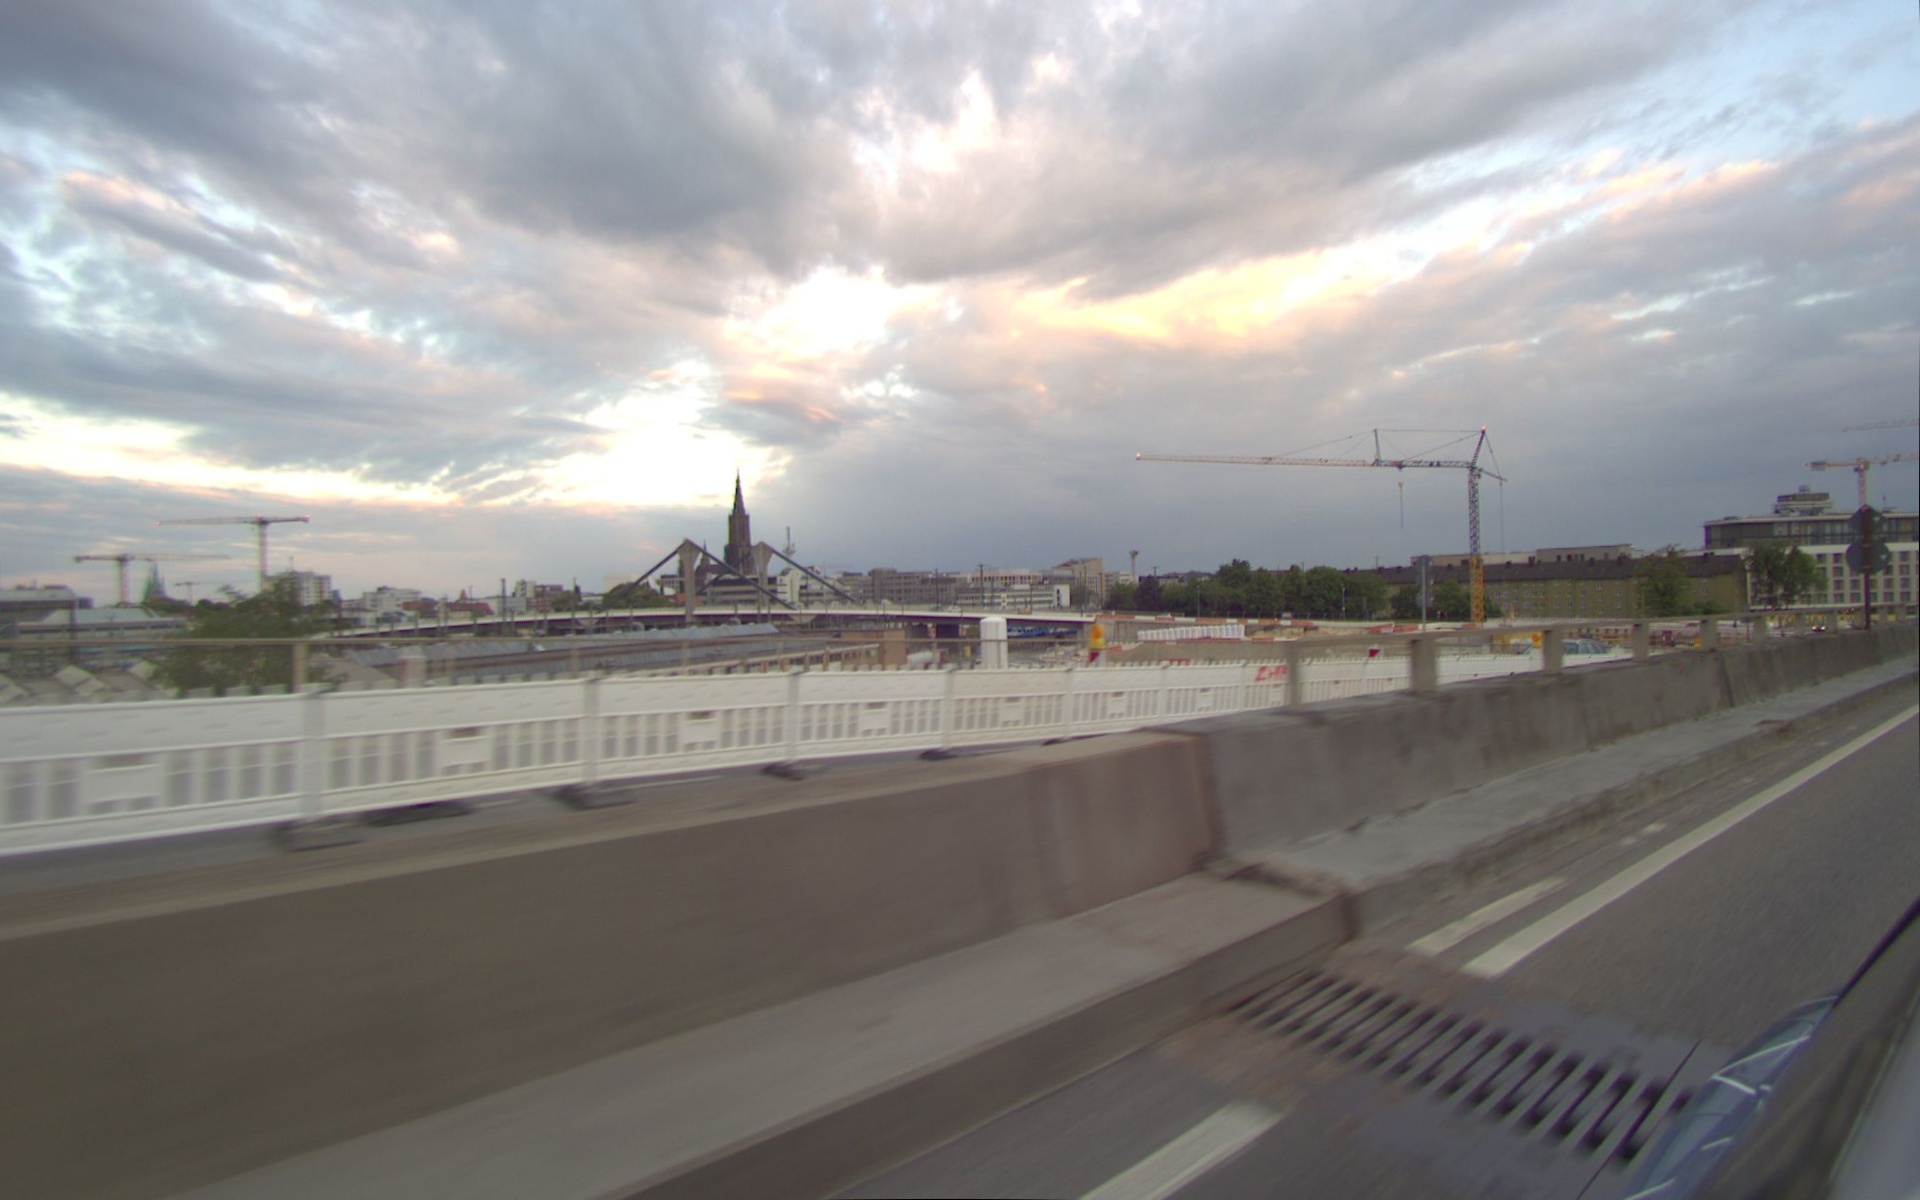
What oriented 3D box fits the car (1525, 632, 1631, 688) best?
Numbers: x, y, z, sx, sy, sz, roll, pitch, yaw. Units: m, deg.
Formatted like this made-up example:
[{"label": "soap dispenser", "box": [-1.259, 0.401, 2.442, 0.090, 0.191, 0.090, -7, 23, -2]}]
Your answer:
[{"label": "car", "box": [19.145, 1.797, 31.289, 3.931, 1.510, 1.752, 0, 0, -42]}]
